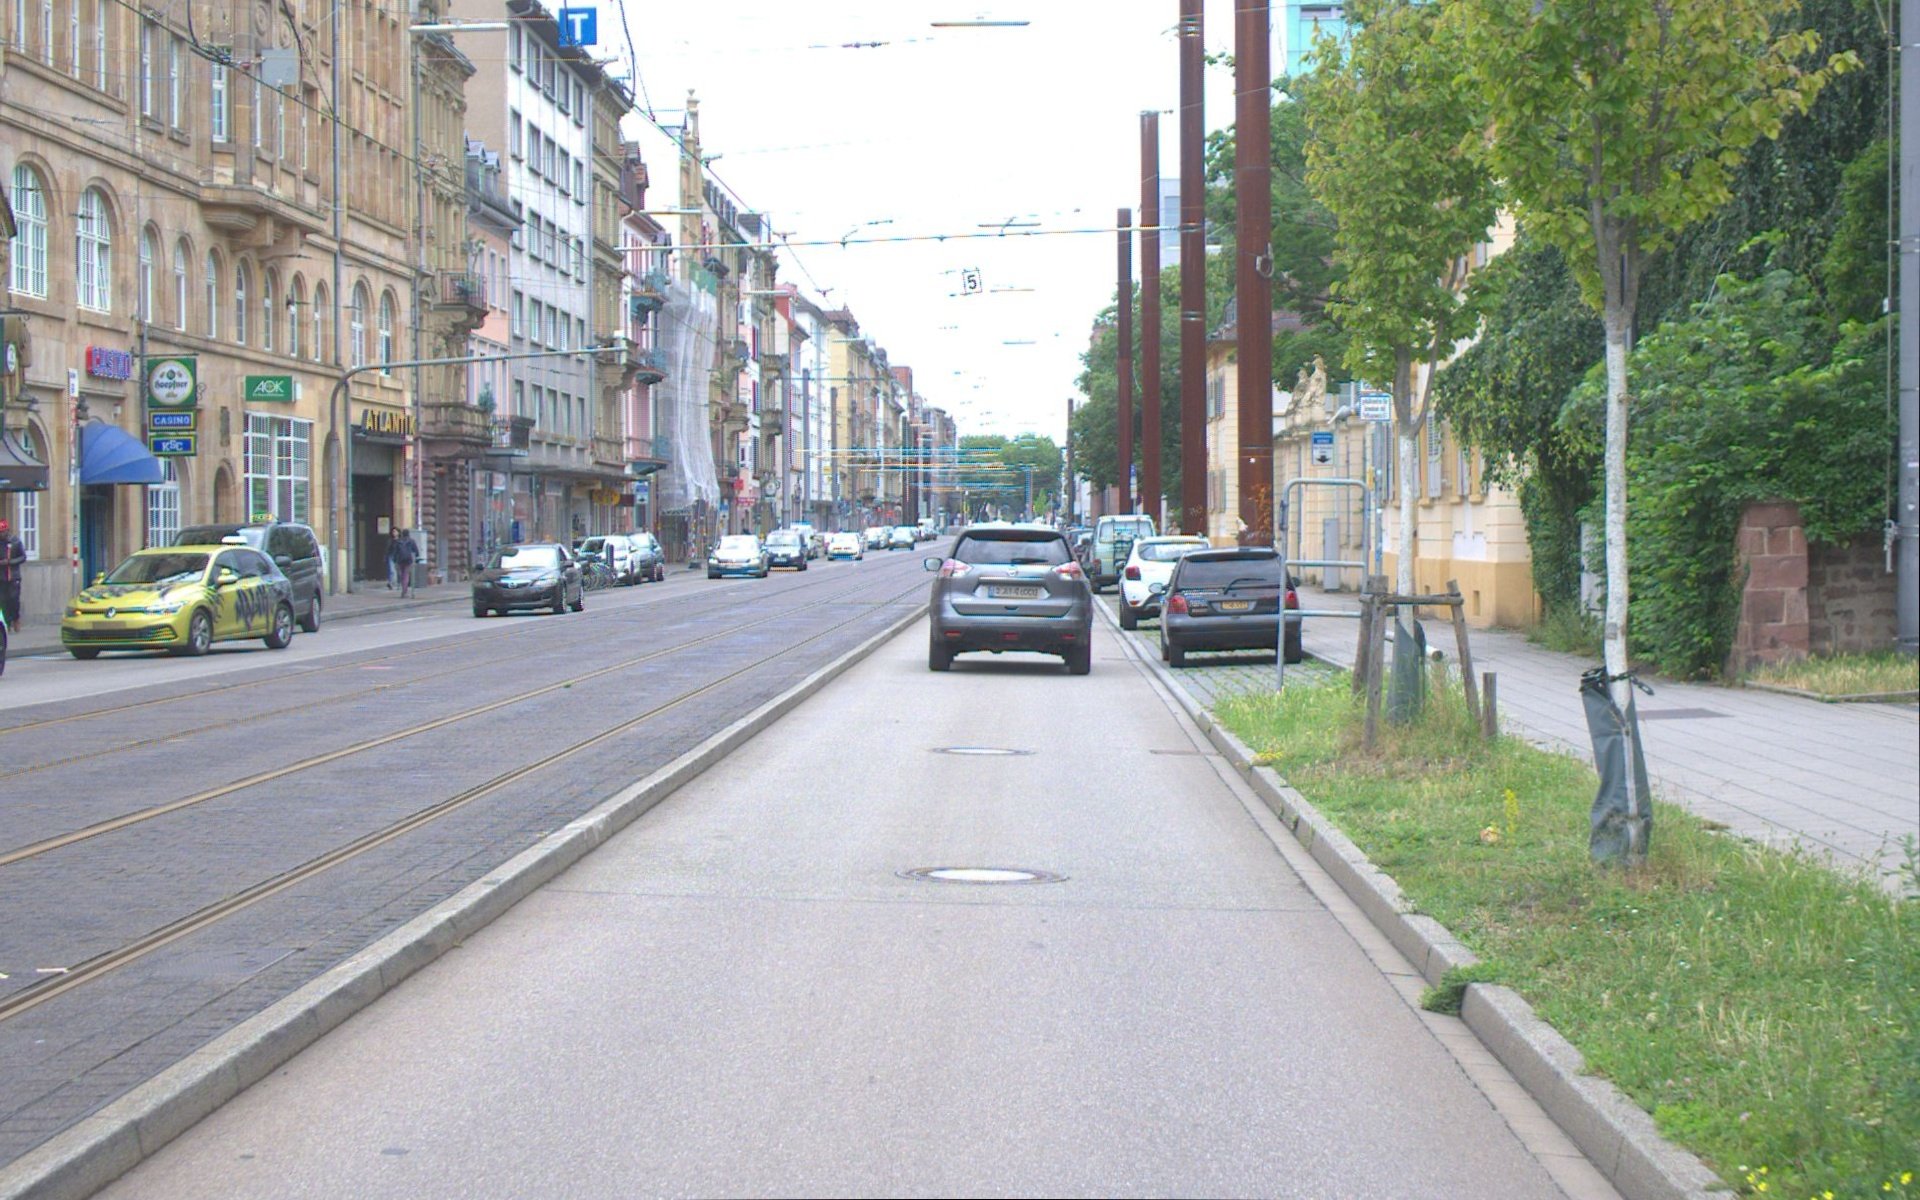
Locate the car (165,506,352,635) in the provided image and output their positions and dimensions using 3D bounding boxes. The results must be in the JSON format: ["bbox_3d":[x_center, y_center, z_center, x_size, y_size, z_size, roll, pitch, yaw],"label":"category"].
[{"bbox_3d":[-11.492,-0.527,56.657,1.899,1.970,5.098,-2,1,1],"label":"car"}]

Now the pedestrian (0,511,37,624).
[{"bbox_3d":[-14.589,-0.506,53.049,0.494,1.722,0.765,0,1,-2],"label":"pedestrian"}]

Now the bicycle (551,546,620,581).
[{"bbox_3d":[-10.785,-1.051,98.944,1.965,0.997,0.463,0,1,-6],"label":"bicycle"}]

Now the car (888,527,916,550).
[{"bbox_3d":[-4.308,-4.502,252.968,1.993,1.629,4.000,0,0,-2],"label":"car"}]

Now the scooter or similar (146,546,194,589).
[{"bbox_3d":[-15.135,-0.625,65.851,0.581,0.800,1.345,0,1,1],"label":"scooter or similar"}]

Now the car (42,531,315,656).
[{"bbox_3d":[-10.312,-0.125,45.701,1.900,1.505,4.426,-1,2,11],"label":"car"}]

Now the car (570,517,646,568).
[{"bbox_3d":[-10.637,-1.760,104.210,1.776,1.499,4.402,0,1,1],"label":"car"}]

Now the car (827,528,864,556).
[{"bbox_3d":[-5.989,-3.062,180.274,1.687,1.415,4.135,0,1,1],"label":"car"}]

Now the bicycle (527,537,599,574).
[{"bbox_3d":[-10.994,-1.237,95.290,1.965,0.997,0.463,0,1,-6],"label":"bicycle"}]

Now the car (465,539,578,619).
[{"bbox_3d":[-8.603,-0.437,67.778,1.827,1.428,4.668,-2,1,-3],"label":"car"}]

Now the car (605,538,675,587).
[{"bbox_3d":[-10.295,-1.225,110.945,1.776,1.499,4.402,0,1,1],"label":"car"}]

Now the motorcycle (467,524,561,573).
[{"bbox_3d":[-11.902,-1.386,91.785,2.336,1.298,0.883,-1,2,-35],"label":"motorcycle"}]

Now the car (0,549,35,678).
[{"bbox_3d":[-11.380,0.171,36.072,1.927,1.375,4.257,0,1,4],"label":"car"}]

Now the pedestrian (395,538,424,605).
[{"bbox_3d":[-13.185,-0.677,82.329,0.568,1.592,0.718,0,1,1],"label":"pedestrian"}]

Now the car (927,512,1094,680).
[{"bbox_3d":[0.596,-0.092,39.437,1.749,1.750,3.924,3,1,1],"label":"car"}]

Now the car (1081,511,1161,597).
[{"bbox_3d":[4.193,-1.242,90.041,1.851,2.108,4.985,-3,1,1],"label":"car"}]

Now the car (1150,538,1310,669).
[{"bbox_3d":[3.228,0.005,41.713,1.637,1.429,3.931,-2,1,1],"label":"car"}]

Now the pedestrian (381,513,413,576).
[{"bbox_3d":[-14.393,-1.413,87.847,0.685,1.608,0.742,0,1,1],"label":"pedestrian"}]

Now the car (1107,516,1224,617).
[{"bbox_3d":[3.448,-0.596,58.264,1.755,1.569,3.931,-2,1,1],"label":"car"}]

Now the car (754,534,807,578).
[{"bbox_3d":[-7.045,-1.733,135.315,1.759,1.666,4.614,0,1,1],"label":"car"}]

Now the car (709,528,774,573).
[{"bbox_3d":[-7.361,-1.688,116.148,1.759,1.444,4.614,0,1,1],"label":"car"}]

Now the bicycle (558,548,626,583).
[{"bbox_3d":[-10.703,-1.008,99.912,1.965,0.997,0.463,0,1,-6],"label":"bicycle"}]

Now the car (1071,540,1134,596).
[{"bbox_3d":[4.323,-0.995,104.747,1.749,1.590,3.924,-3,1,1],"label":"car"}]

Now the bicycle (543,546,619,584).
[{"bbox_3d":[-11.094,-1.027,100.645,2.230,1.122,0.504,0,1,-6],"label":"bicycle"}]
